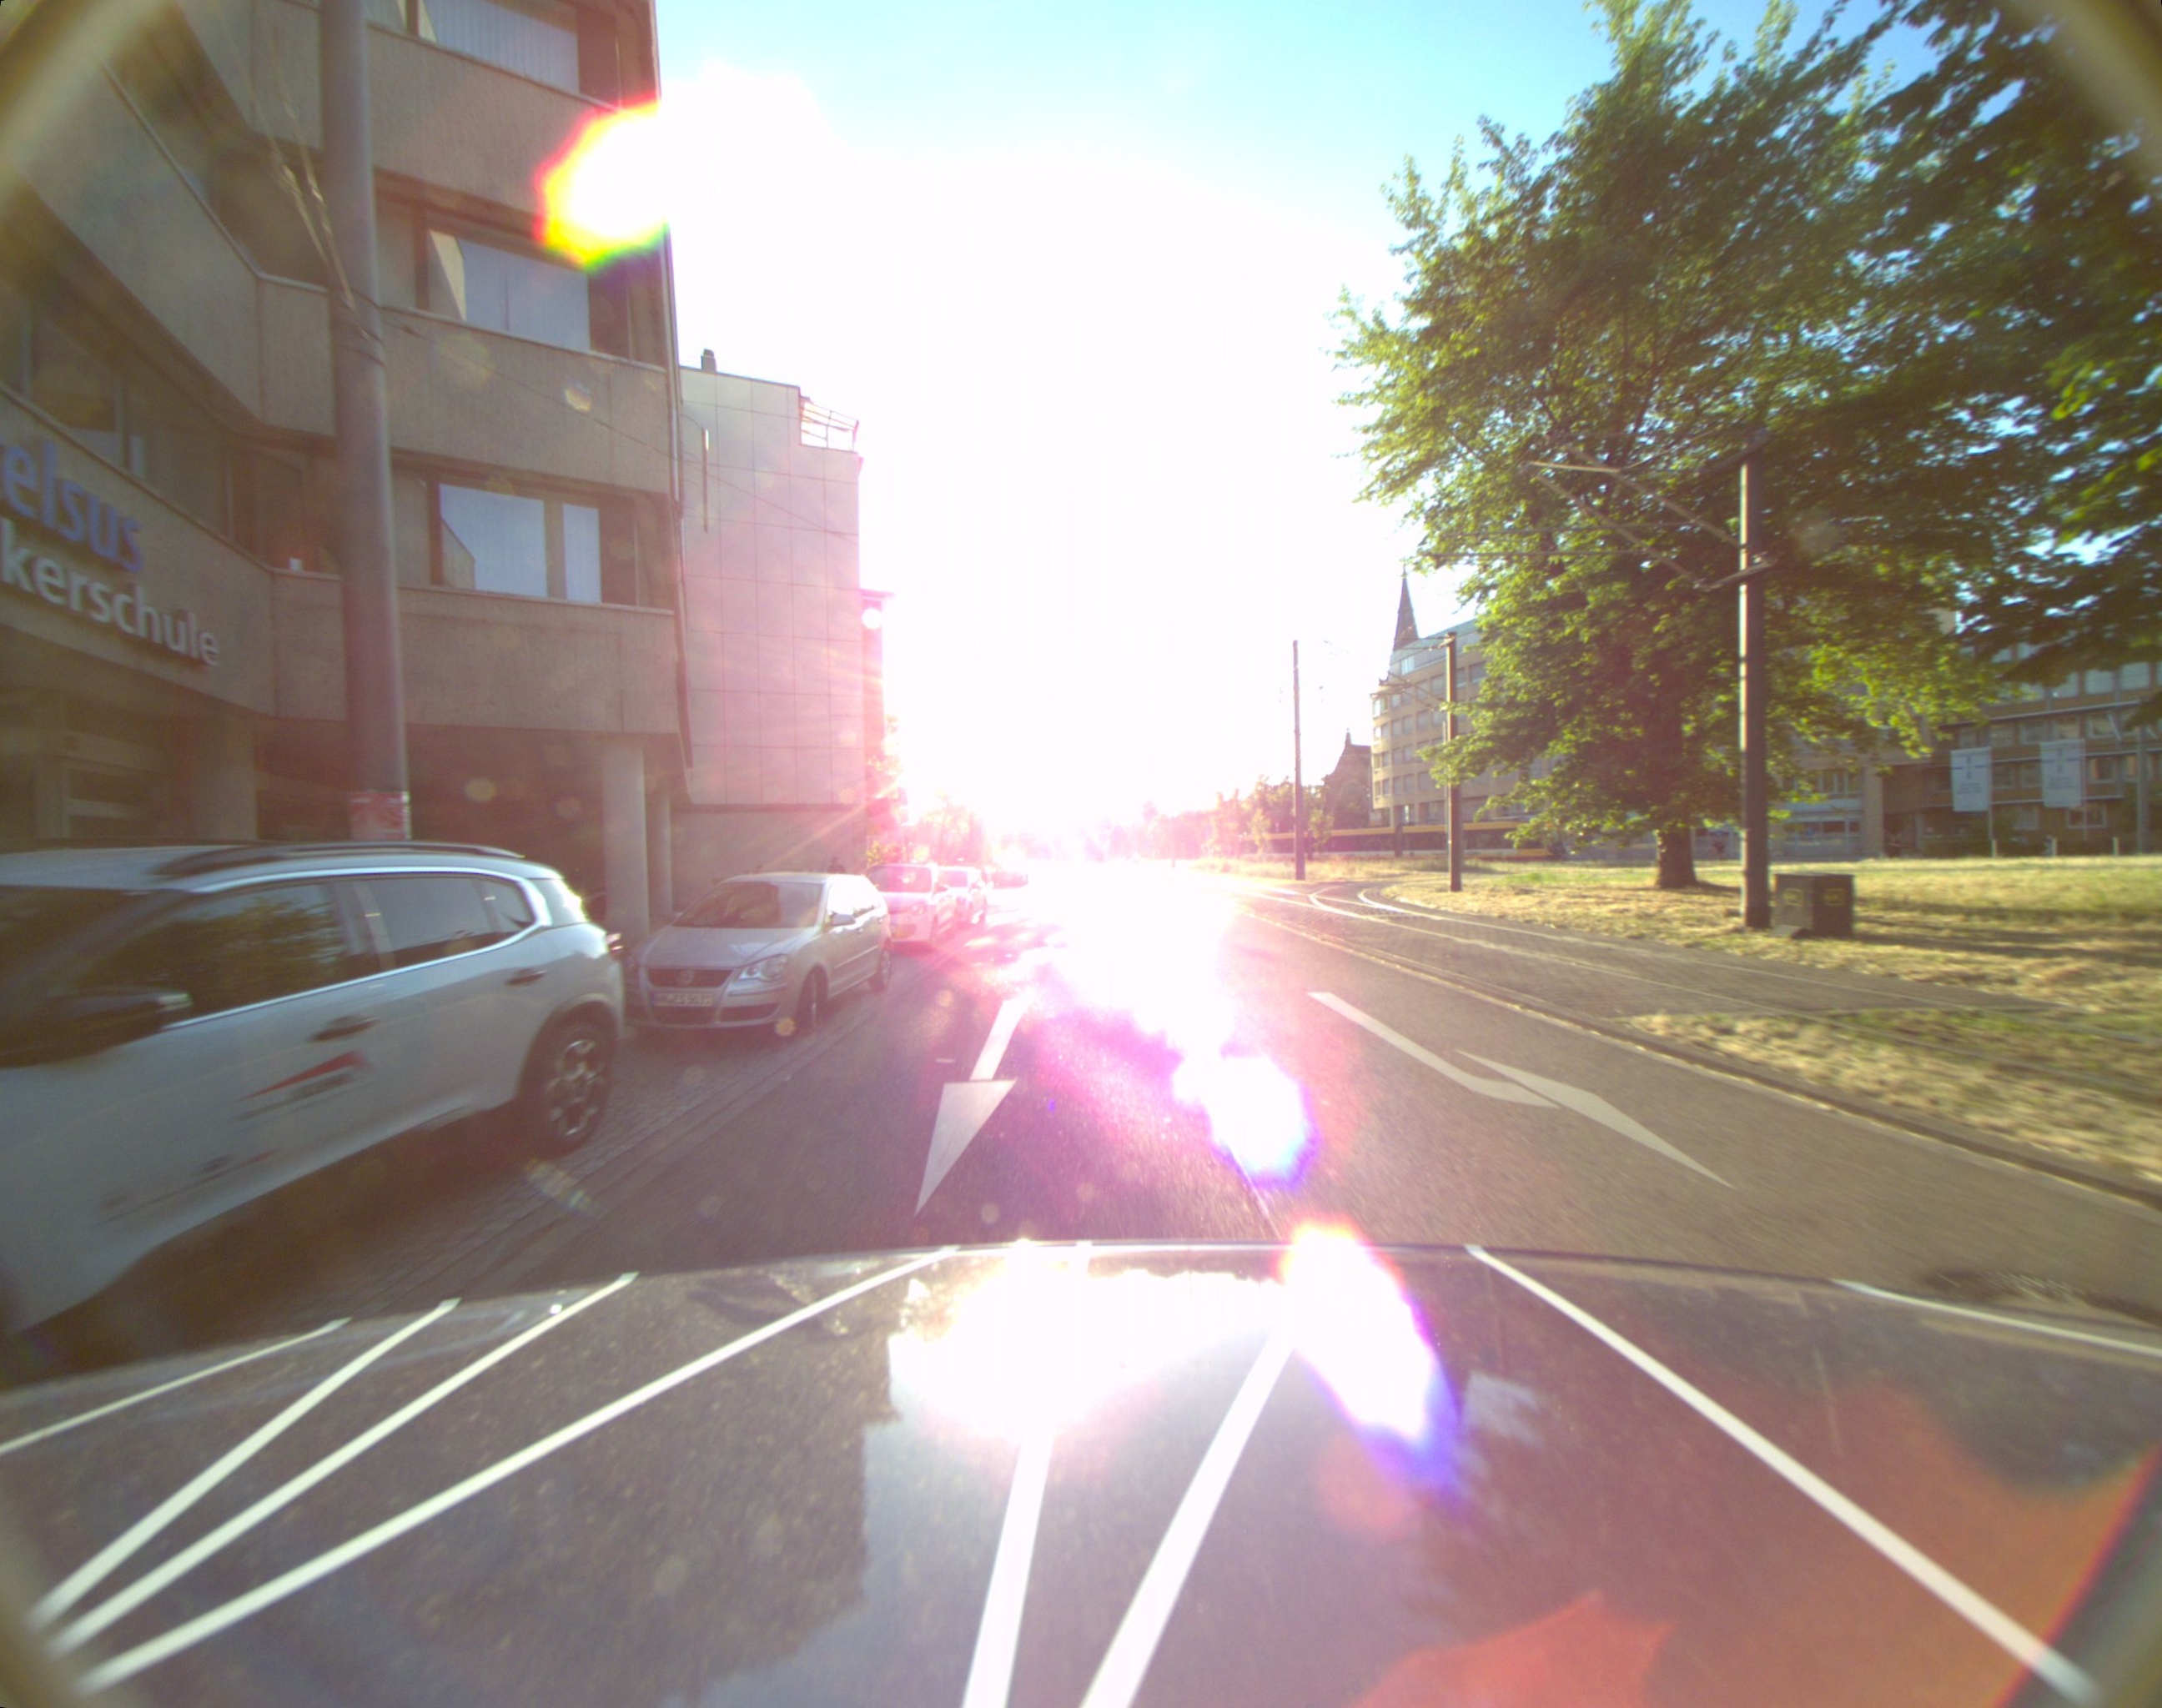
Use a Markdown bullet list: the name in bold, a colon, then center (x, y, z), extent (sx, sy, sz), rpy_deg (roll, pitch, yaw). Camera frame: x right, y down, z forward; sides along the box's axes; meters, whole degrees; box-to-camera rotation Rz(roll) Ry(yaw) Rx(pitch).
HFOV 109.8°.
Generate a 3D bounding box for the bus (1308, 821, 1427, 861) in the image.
- **bus**: center (26.571, -1.105, 71.297), extent (3.765, 3.311, 10.716), rpy_deg (-3, 0, -25)

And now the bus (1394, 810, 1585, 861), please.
- **bus**: center (31.752, -1.311, 60.311), extent (3.765, 3.343, 13.686), rpy_deg (-3, 0, -26)

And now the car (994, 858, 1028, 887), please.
- **car**: center (-4.058, 1.049, 44.351), extent (1.655, 1.525, 4.066), rpy_deg (-3, 0, -1)

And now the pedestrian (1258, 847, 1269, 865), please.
- **pedestrian**: center (15.312, 0.187, 63.754), extent (0.672, 1.450, 0.699), rpy_deg (-3, 0, -4)

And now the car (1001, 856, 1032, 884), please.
- **car**: center (-4.173, 1.000, 49.601), extent (1.809, 1.660, 4.811), rpy_deg (-3, 0, -3)

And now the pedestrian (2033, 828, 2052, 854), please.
- **pedestrian**: center (57.541, -0.777, 45.451), extent (0.567, 1.530, 0.575), rpy_deg (-3, 1, -27)

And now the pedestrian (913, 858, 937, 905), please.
- **pedestrian**: center (-6.018, 1.049, 29.311), extent (0.641, 1.775, 0.855), rpy_deg (-3, 1, -24)

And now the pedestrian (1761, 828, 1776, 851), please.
- **pedestrian**: center (51.234, -1.058, 56.622), extent (0.532, 1.683, 0.617), rpy_deg (-3, 1, -17)

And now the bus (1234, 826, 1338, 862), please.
- **bus**: center (21.735, -0.951, 81.646), extent (3.765, 3.435, 12.109), rpy_deg (-3, 0, -25)

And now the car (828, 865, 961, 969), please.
- **car**: center (-3.324, 1.049, 14.201), extent (1.589, 1.581, 3.667), rpy_deg (-3, 0, -2)

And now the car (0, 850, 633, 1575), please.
- **car**: center (-3.621, 0.928, 2.424), extent (1.788, 1.794, 4.400), rpy_deg (-3, 0, -2)

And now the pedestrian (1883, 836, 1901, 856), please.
- **pedestrian**: center (54.022, -0.528, 50.610), extent (0.568, 1.316, 0.682), rpy_deg (-3, 1, -30)

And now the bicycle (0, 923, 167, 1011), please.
- **bicycle**: center (-10.962, 1.212, 8.214), extent (1.397, 0.824, 0.437), rpy_deg (-3, 0, -10)

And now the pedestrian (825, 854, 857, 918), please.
- **pedestrian**: center (-6.341, 0.834, 20.034), extent (0.641, 1.618, 0.855), rpy_deg (-3, 1, -24)

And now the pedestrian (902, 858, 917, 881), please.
- **pedestrian**: center (-12.839, 1.182, 56.976), extent (0.895, 1.715, 0.772), rpy_deg (-1, 0, -31)

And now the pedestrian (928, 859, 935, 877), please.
- **pedestrian**: center (-14.334, 1.368, 72.840), extent (0.519, 1.683, 0.771), rpy_deg (-3, 1, -20)

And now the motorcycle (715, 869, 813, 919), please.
- **motorcycle**: center (-8.475, 1.053, 20.396), extent (2.283, 1.183, 0.704), rpy_deg (-3, 1, -10)

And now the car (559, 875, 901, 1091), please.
- **car**: center (-3.246, 1.074, 7.997), extent (1.645, 1.519, 4.000), rpy_deg (-3, 0, 0)

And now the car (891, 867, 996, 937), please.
- **car**: center (-3.334, 1.124, 19.228), extent (1.789, 1.448, 4.000), rpy_deg (-2, 1, 1)

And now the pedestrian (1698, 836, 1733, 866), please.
- **pedestrian**: center (45.717, -0.235, 54.762), extent (1.061, 2.082, 1.630), rpy_deg (-3, 0, -27)
